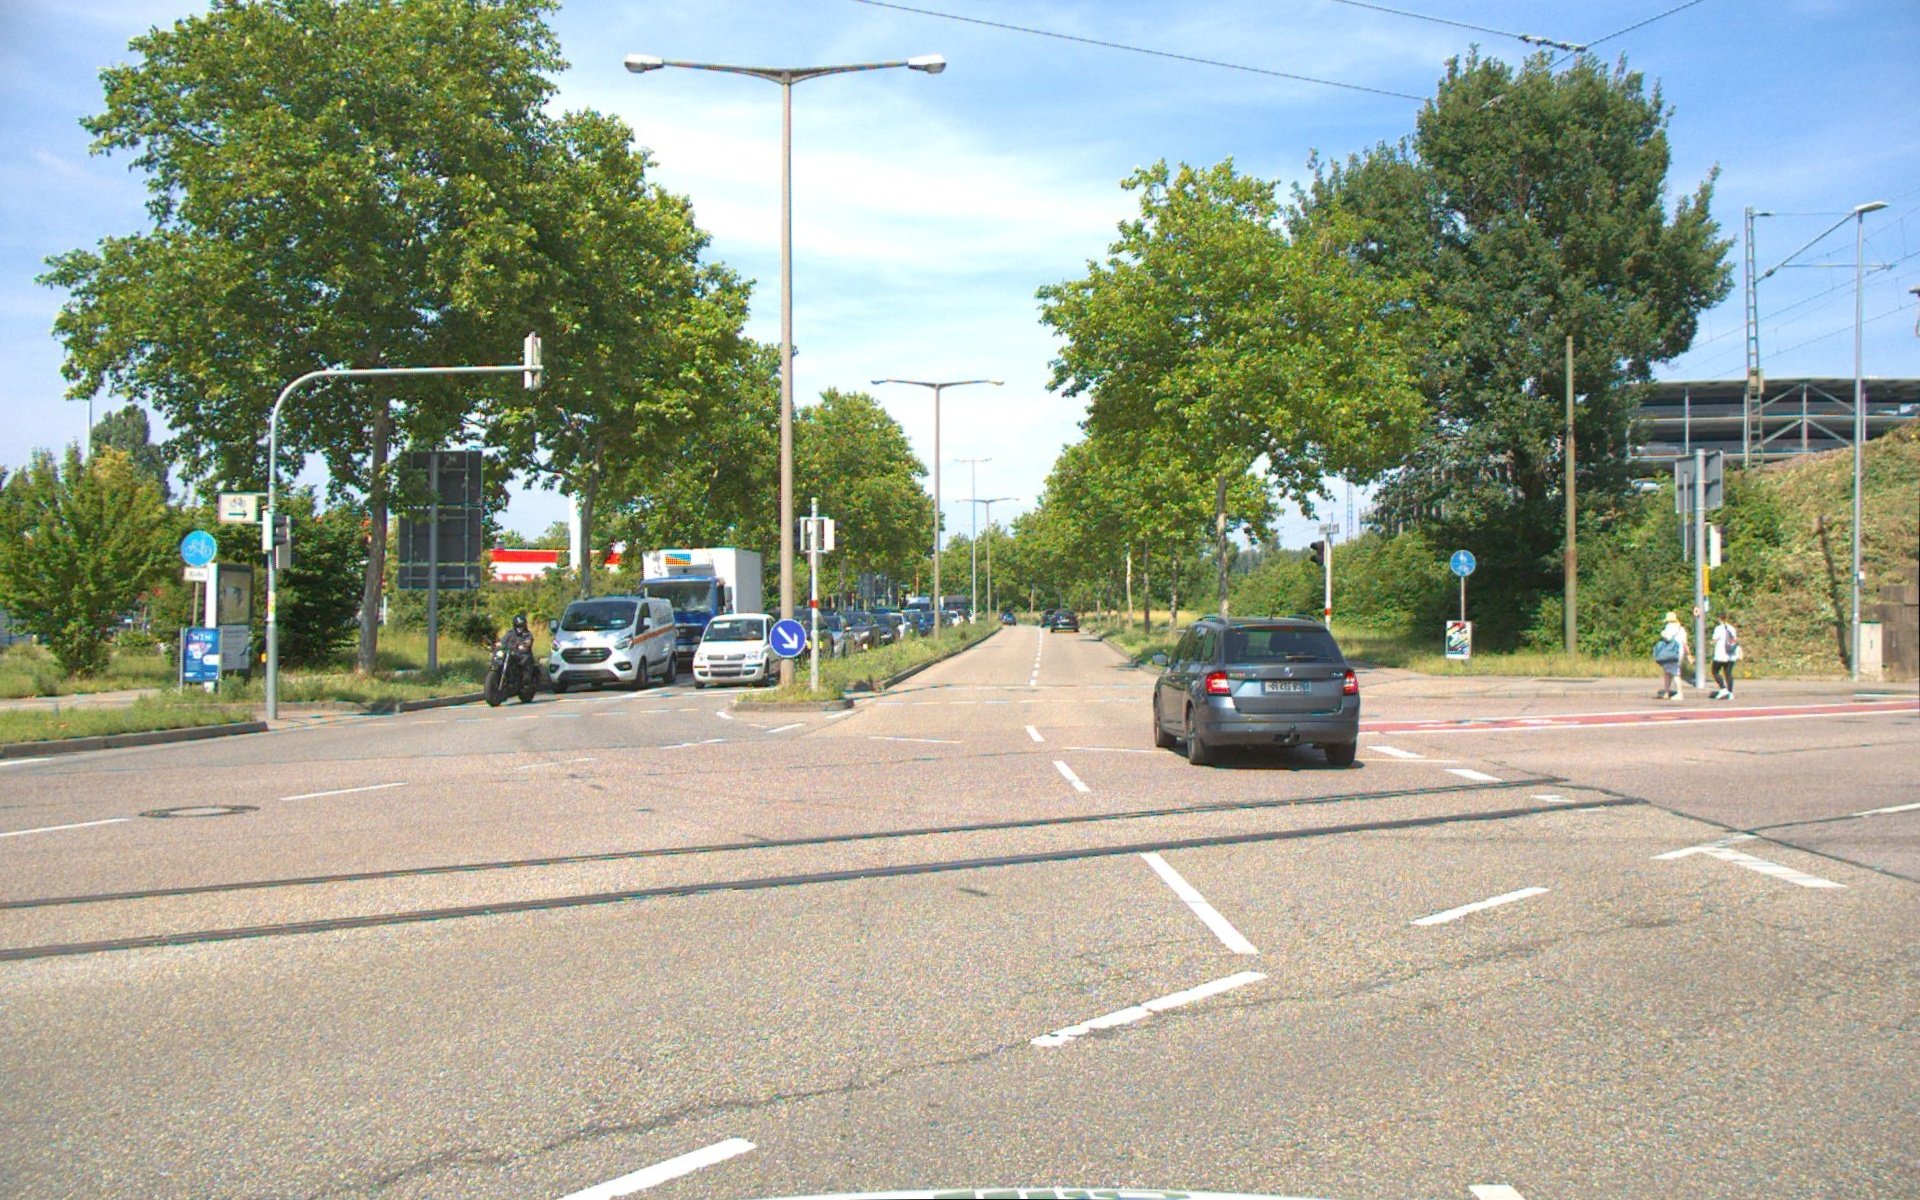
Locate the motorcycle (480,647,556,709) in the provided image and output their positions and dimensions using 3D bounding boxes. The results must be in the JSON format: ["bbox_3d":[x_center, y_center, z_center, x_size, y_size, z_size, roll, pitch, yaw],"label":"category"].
[{"bbox_3d":[-7.961,1.382,29.871,0.673,1.009,2.218,0,0,3],"label":"motorcycle"}]

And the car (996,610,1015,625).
[{"bbox_3d":[4.934,1.900,178.687,1.869,1.488,4.582,0,1,0],"label":"car"}]

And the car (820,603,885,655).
[{"bbox_3d":[-3.519,0.943,55.021,1.653,1.614,4.242,-1,0,3],"label":"car"}]

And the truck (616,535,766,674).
[{"bbox_3d":[-7.414,0.094,46.491,2.745,3.532,6.694,-2,0,3],"label":"truck"}]

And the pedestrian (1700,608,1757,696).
[{"bbox_3d":[14.227,0.957,30.636,0.714,1.607,0.778,0,0,2],"label":"pedestrian"}]

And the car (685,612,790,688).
[{"bbox_3d":[-4.737,1.038,35.690,1.559,1.503,3.731,-1,0,3],"label":"car"}]

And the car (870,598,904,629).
[{"bbox_3d":[-4.475,0.834,101.878,1.653,1.891,4.038,-1,-1,3],"label":"car"}]

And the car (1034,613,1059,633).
[{"bbox_3d":[7.283,1.927,139.222,1.869,1.488,4.582,0,1,0],"label":"car"}]

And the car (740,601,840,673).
[{"bbox_3d":[-4.199,0.912,41.553,1.782,1.675,4.695,-1,-1,3],"label":"car"}]

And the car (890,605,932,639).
[{"bbox_3d":[-2.363,1.054,80.642,1.747,1.515,4.212,-1,0,2],"label":"car"}]

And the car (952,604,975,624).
[{"bbox_3d":[0.294,1.136,131.275,1.653,1.557,3.816,-1,-1,3],"label":"car"}]

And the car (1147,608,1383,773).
[{"bbox_3d":[3.093,0.857,17.524,1.640,1.478,4.035,1,0,-1],"label":"car"}]

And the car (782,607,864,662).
[{"bbox_3d":[-3.956,0.973,48.362,1.759,1.493,4.524,-1,0,3],"label":"car"}]

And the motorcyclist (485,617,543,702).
[{"bbox_3d":[-8.030,1.064,29.815,0.727,1.496,0.988,0,0,3],"label":"motorcyclist"}]

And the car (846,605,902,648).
[{"bbox_3d":[-3.210,0.979,62.322,1.653,1.499,4.220,-2,0,3],"label":"car"}]

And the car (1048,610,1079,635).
[{"bbox_3d":[6.620,1.437,106.471,1.868,1.488,4.623,0,1,2],"label":"car"}]

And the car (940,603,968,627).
[{"bbox_3d":[-0.399,1.034,114.650,1.653,1.537,3.816,-1,0,3],"label":"car"}]

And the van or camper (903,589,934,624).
[{"bbox_3d":[-3.194,0.462,129.326,1.973,2.633,5.519,-1,0,3],"label":"van or camper"}]

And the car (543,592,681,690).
[{"bbox_3d":[-7.592,0.838,36.567,1.935,2.034,5.032,0,0,0],"label":"car"}]

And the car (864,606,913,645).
[{"bbox_3d":[-2.913,1.021,67.953,1.653,1.497,3.816,-1,0,3],"label":"car"}]

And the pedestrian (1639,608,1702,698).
[{"bbox_3d":[13.138,0.971,30.612,0.850,1.640,0.778,0,0,2],"label":"pedestrian"}]
